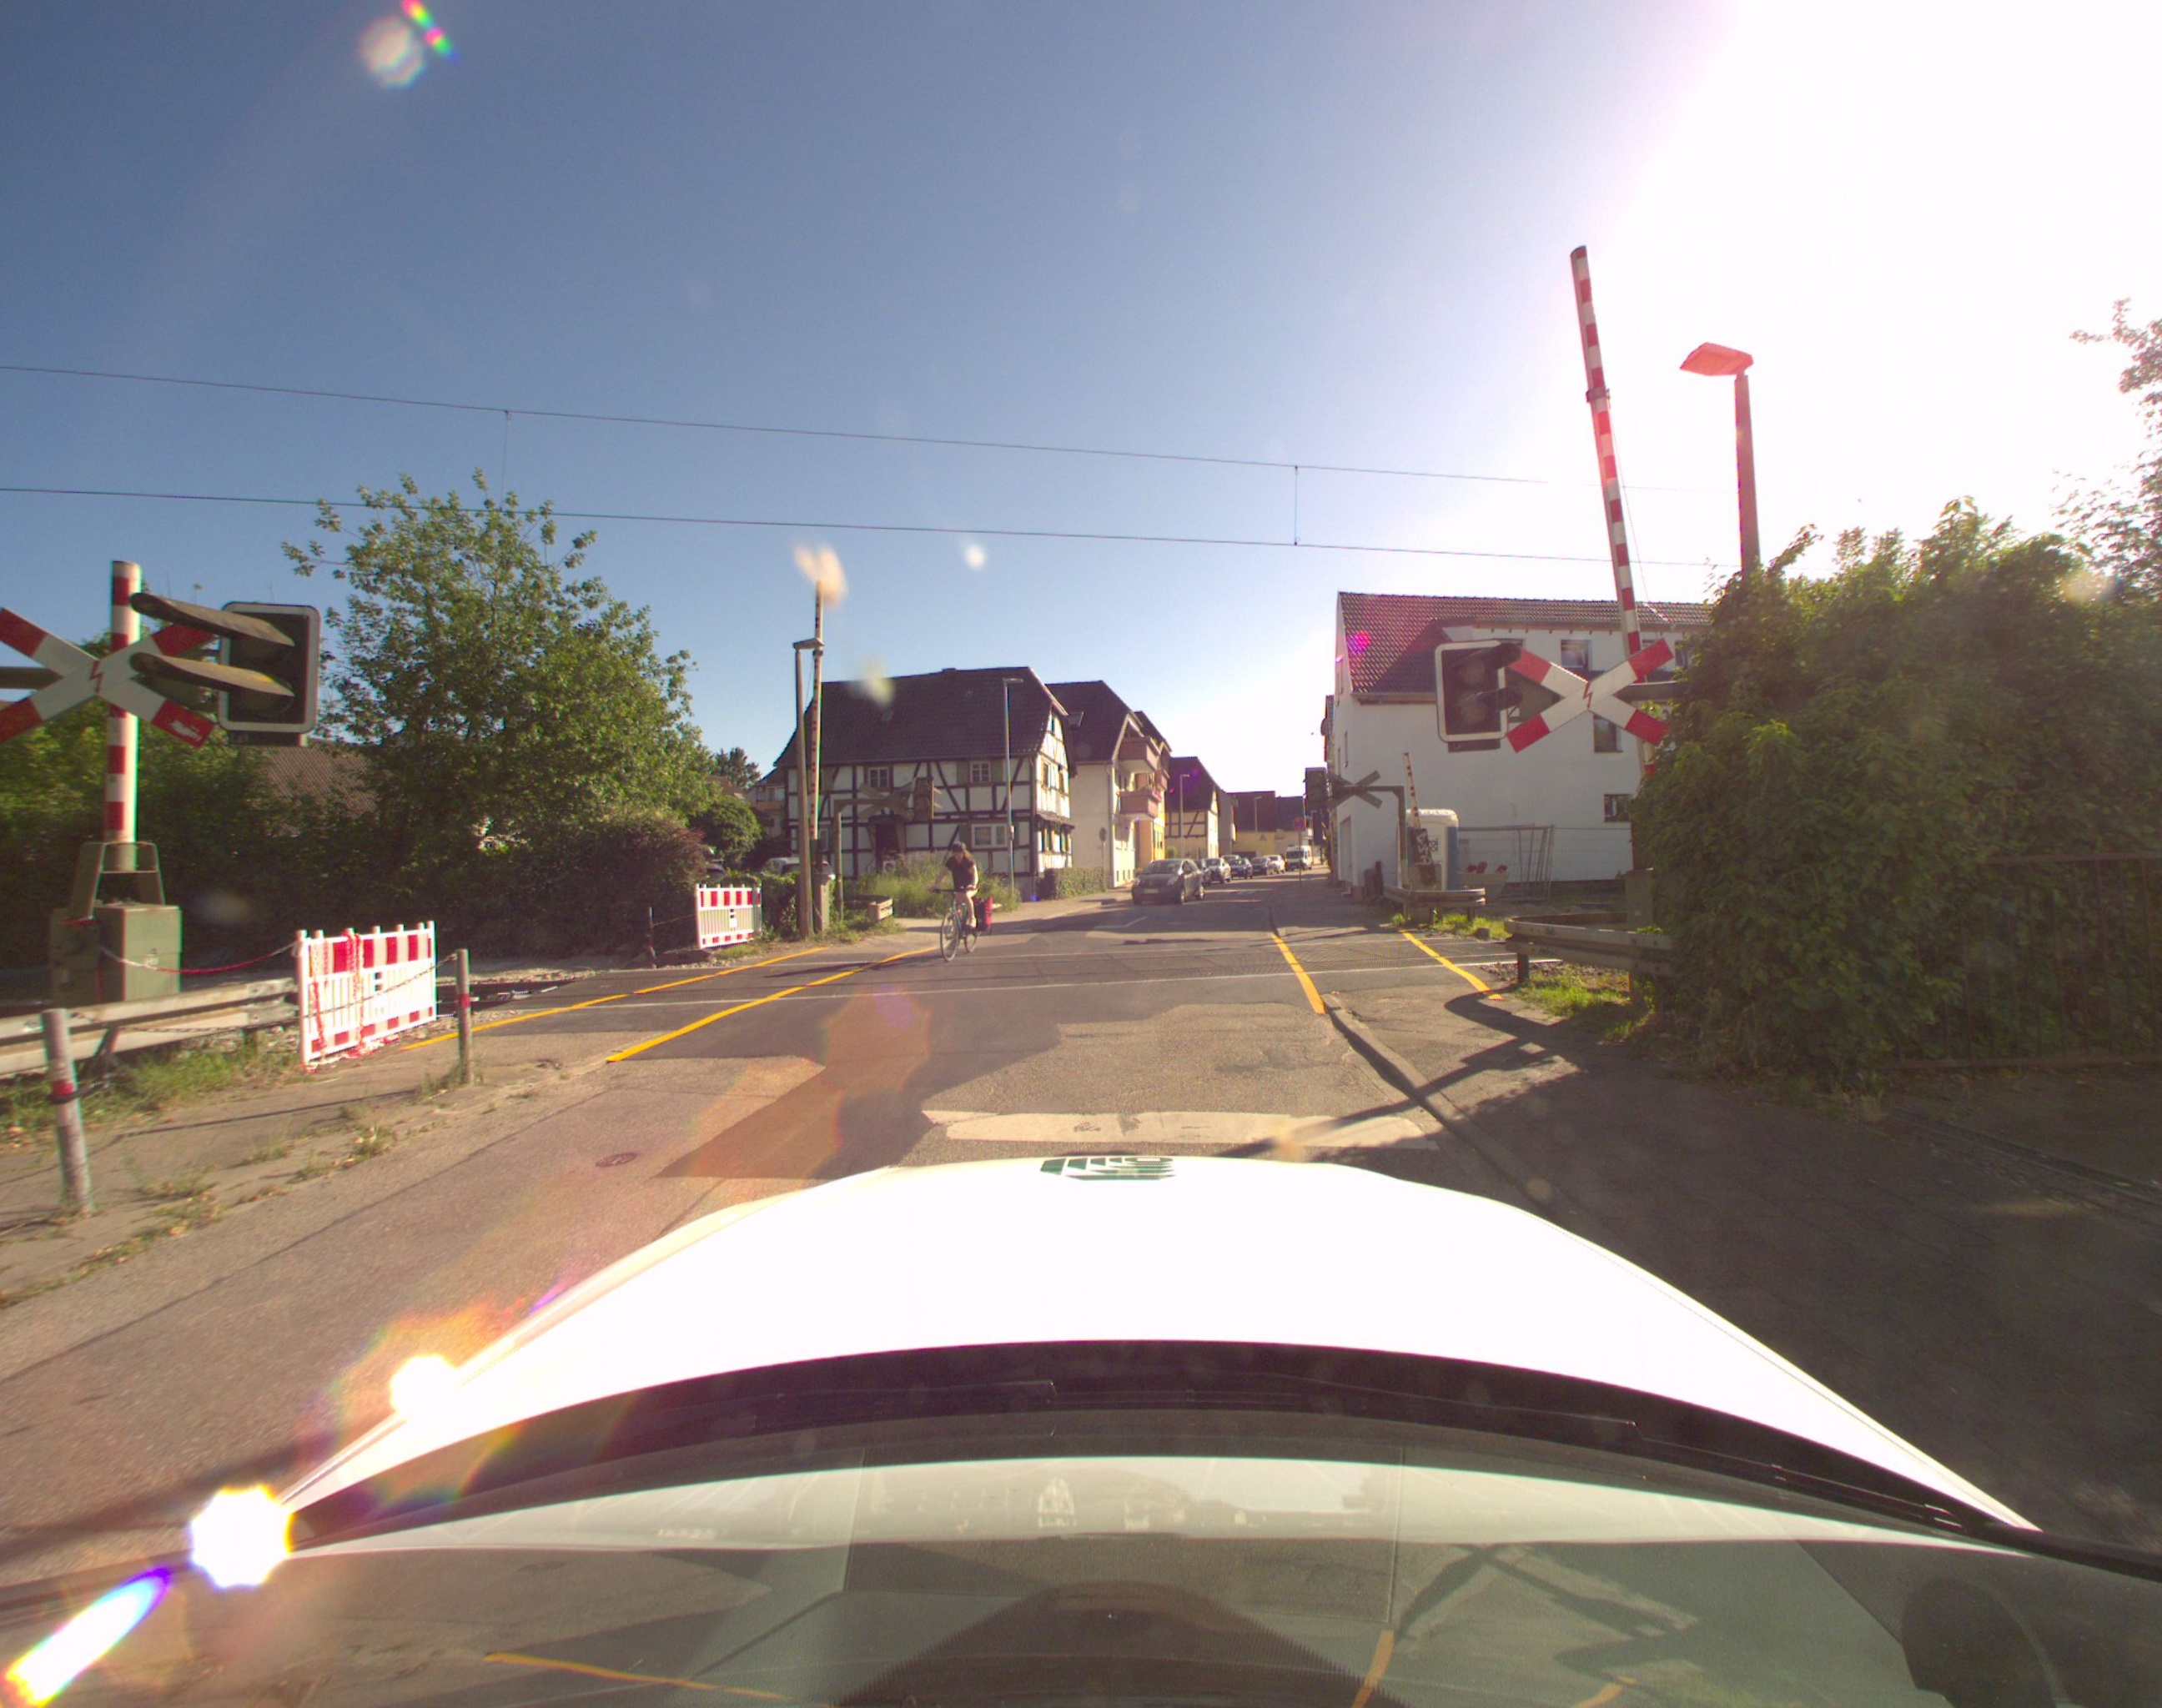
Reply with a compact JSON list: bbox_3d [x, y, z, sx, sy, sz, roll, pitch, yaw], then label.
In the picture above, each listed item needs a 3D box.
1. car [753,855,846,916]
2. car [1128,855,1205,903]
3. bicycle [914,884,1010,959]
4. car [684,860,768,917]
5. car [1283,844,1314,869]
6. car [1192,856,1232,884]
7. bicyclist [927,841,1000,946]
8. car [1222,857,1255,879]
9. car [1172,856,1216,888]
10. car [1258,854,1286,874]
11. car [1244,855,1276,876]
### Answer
[{"bbox_3d":[-8.098,0.851,23.242,1.694,1.564,3.960,1,-1,-31],"label":"car"},{"bbox_3d":[2.992,0.816,27.980,1.671,1.510,3.673,-3,-1,21],"label":"car"},{"bbox_3d":[-1.772,0.992,12.518,0.878,1.005,2.067,-2,-2,8],"label":"bicycle"},{"bbox_3d":[-9.889,0.887,22.527,1.648,1.402,3.794,-1,-1,-31],"label":"car"},{"bbox_3d":[21.846,0.240,81.728,2.058,2.394,5.238,-3,-1,24],"label":"car"},{"bbox_3d":[7.860,0.926,48.516,1.660,1.506,4.114,-3,-1,18],"label":"car"},{"bbox_3d":[-1.795,0.601,12.577,0.843,1.541,0.875,-2,-2,8],"label":"bicyclist"},{"bbox_3d":[11.001,0.954,56.744,1.625,1.441,4.094,-3,-1,19],"label":"car"},{"bbox_3d":[6.131,0.953,43.823,1.618,1.506,3.870,-5,-1,17],"label":"car"},{"bbox_3d":[16.399,0.872,69.919,1.659,1.572,3.987,-3,-1,23],"label":"car"},{"bbox_3d":[14.448,0.927,65.646,1.688,1.519,4.144,-3,-2,23],"label":"car"}]
